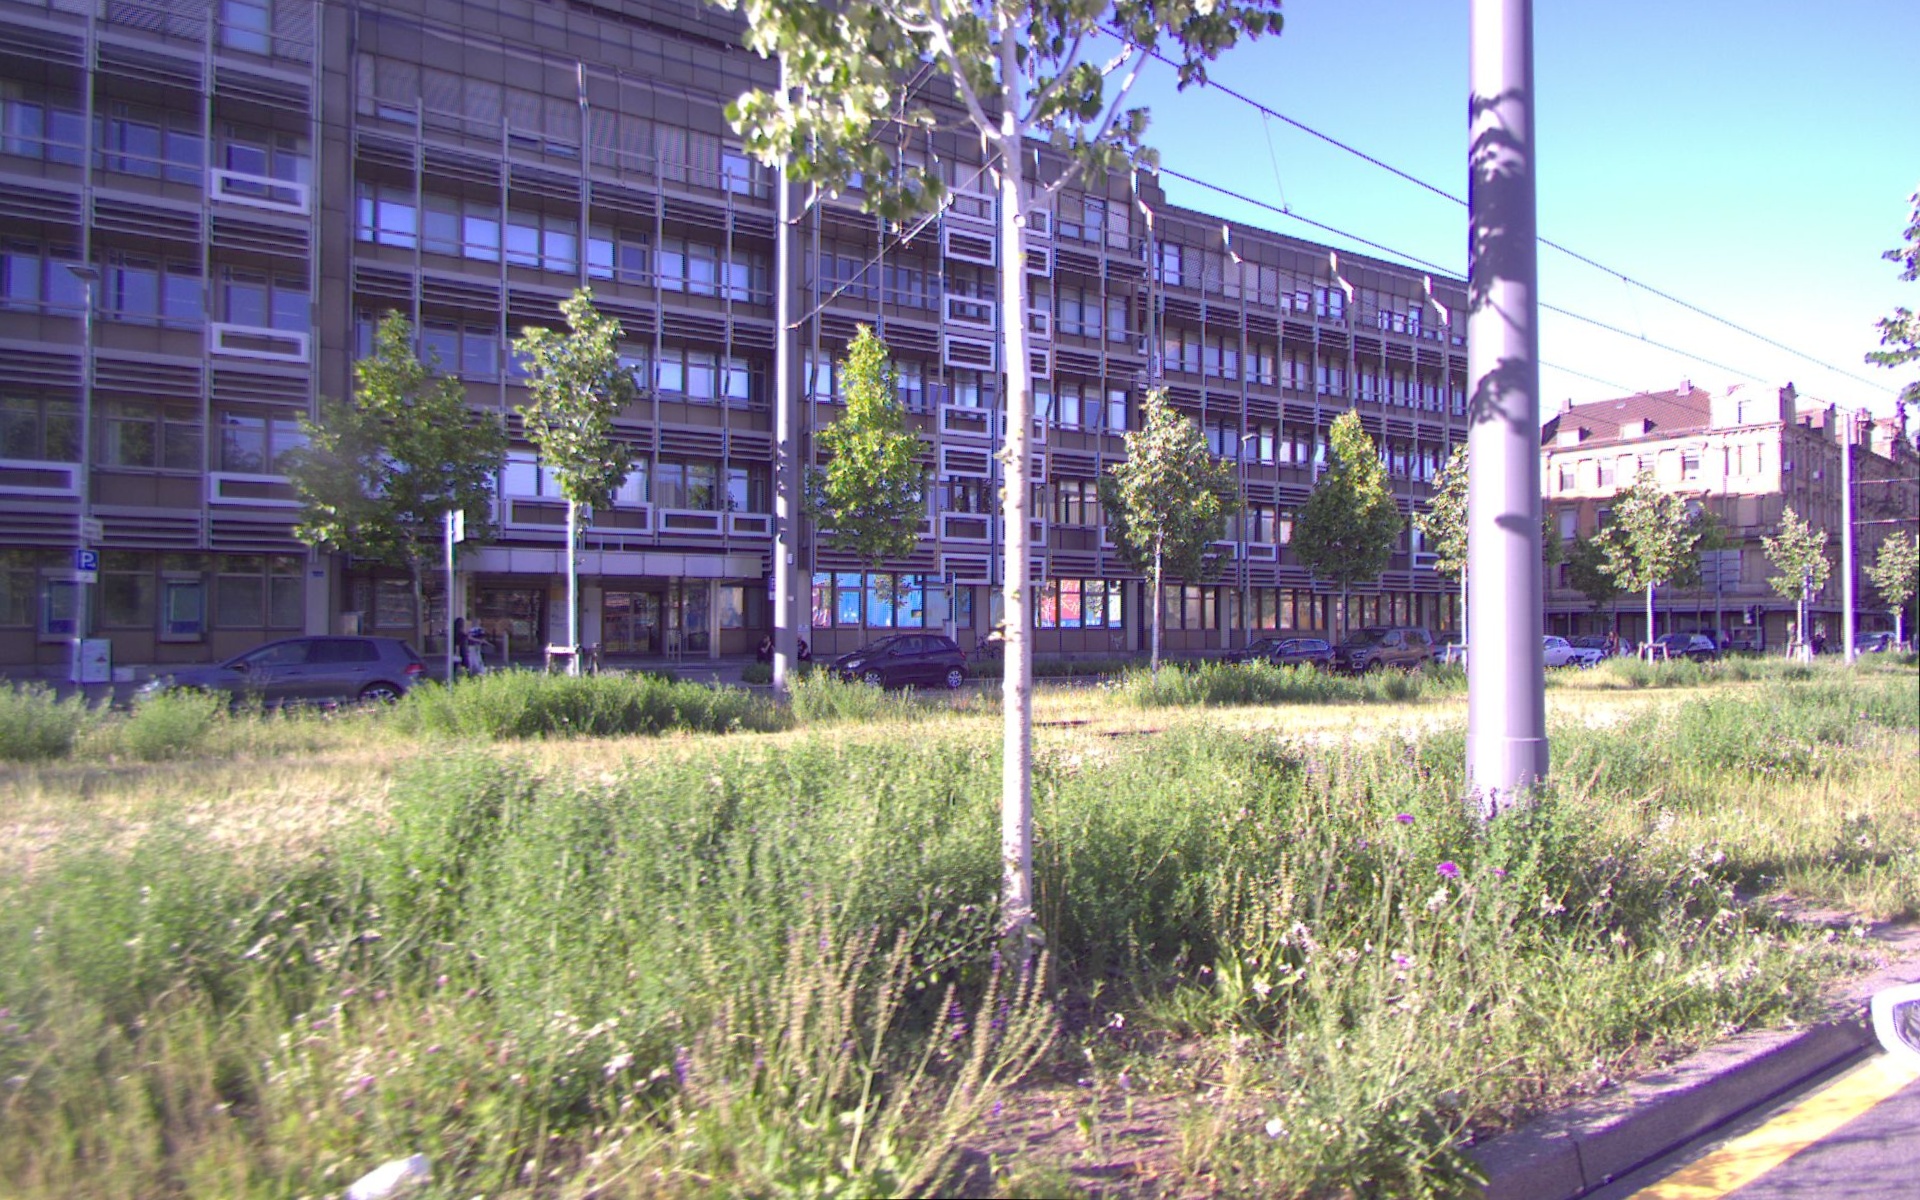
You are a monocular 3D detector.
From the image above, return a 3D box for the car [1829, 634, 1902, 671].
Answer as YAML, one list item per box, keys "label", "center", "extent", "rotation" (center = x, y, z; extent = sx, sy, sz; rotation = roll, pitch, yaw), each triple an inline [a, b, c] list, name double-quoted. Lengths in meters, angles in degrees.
- label: "car"
  center: [46.186, 2.653, 51.211]
  extent: [4.075, 1.770, 1.719]
  rotation: [2, -1, -32]

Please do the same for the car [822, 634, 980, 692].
- label: "car"
  center: [-1.598, 1.697, 27.567]
  extent: [3.990, 1.405, 1.708]
  rotation: [1, 1, -29]

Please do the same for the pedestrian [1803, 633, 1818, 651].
- label: "pedestrian"
  center: [62.809, 3.096, 74.178]
  extent: [0.920, 1.263, 0.685]
  rotation: [2, -2, -36]

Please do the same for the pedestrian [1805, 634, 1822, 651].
- label: "pedestrian"
  center: [64.368, 3.203, 75.789]
  extent: [0.920, 1.224, 0.786]
  rotation: [2, -2, -36]

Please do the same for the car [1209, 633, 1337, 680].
- label: "car"
  center: [10.843, 1.916, 34.697]
  extent: [4.452, 1.488, 1.720]
  rotation: [1, 0, -31]

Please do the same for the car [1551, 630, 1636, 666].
- label: "car"
  center: [29.008, 2.196, 45.963]
  extent: [3.919, 1.574, 1.642]
  rotation: [2, -1, -30]

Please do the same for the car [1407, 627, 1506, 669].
- label: "car"
  center: [19.905, 1.896, 40.280]
  extent: [3.838, 1.556, 1.730]
  rotation: [1, -1, -30]

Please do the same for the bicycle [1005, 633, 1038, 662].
- label: "bicycle"
  center: [2.351, 1.806, 38.615]
  extent: [0.419, 1.086, 1.924]
  rotation: [1, -2, -24]

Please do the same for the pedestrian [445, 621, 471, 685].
- label: "pedestrian"
  center: [-12.646, 1.328, 25.310]
  extent: [0.529, 1.599, 0.519]
  rotation: [1, -2, -26]

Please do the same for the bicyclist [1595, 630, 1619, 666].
- label: "bicyclist"
  center: [26.857, 2.005, 41.681]
  extent: [0.698, 1.476, 0.562]
  rotation: [1, -2, -31]

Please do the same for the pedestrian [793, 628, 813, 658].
- label: "pedestrian"
  center: [-5.215, 1.423, 33.379]
  extent: [0.492, 0.999, 0.615]
  rotation: [1, -2, -27]

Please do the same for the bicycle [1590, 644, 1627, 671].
- label: "bicycle"
  center: [26.955, 2.382, 41.731]
  extent: [1.750, 1.110, 0.562]
  rotation: [1, -2, -31]

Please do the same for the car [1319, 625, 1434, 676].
- label: "car"
  center: [15.560, 1.851, 37.476]
  extent: [4.279, 1.795, 1.742]
  rotation: [1, 0, -30]

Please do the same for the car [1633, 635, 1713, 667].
- label: "car"
  center: [35.671, 2.524, 50.267]
  extent: [3.852, 1.481, 1.723]
  rotation: [1, 1, -28]

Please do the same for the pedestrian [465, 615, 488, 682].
- label: "pedestrian"
  center: [-12.701, 1.261, 26.389]
  extent: [0.529, 1.744, 0.519]
  rotation: [1, -2, -26]

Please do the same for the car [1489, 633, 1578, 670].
- label: "car"
  center: [24.470, 2.196, 42.825]
  extent: [3.773, 1.460, 1.617]
  rotation: [2, 0, -30]

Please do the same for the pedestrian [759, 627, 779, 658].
- label: "pedestrian"
  center: [-6.247, 1.388, 32.871]
  extent: [0.492, 0.999, 0.615]
  rotation: [1, -2, -27]

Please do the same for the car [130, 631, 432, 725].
- label: "car"
  center: [-11.153, 1.246, 16.888]
  extent: [3.988, 1.405, 1.710]
  rotation: [1, -2, -28]

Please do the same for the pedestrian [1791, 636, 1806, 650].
- label: "pedestrian"
  center: [63.127, 3.244, 75.620]
  extent: [0.729, 1.073, 0.685]
  rotation: [2, -2, -36]

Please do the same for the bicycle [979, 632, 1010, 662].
- label: "bicycle"
  center: [1.302, 1.775, 38.003]
  extent: [0.419, 1.086, 1.870]
  rotation: [1, -2, -24]

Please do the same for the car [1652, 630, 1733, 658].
- label: "car"
  center: [52.959, 3.137, 72.667]
  extent: [1.884, 1.928, 4.470]
  rotation: [2, -2, -41]
